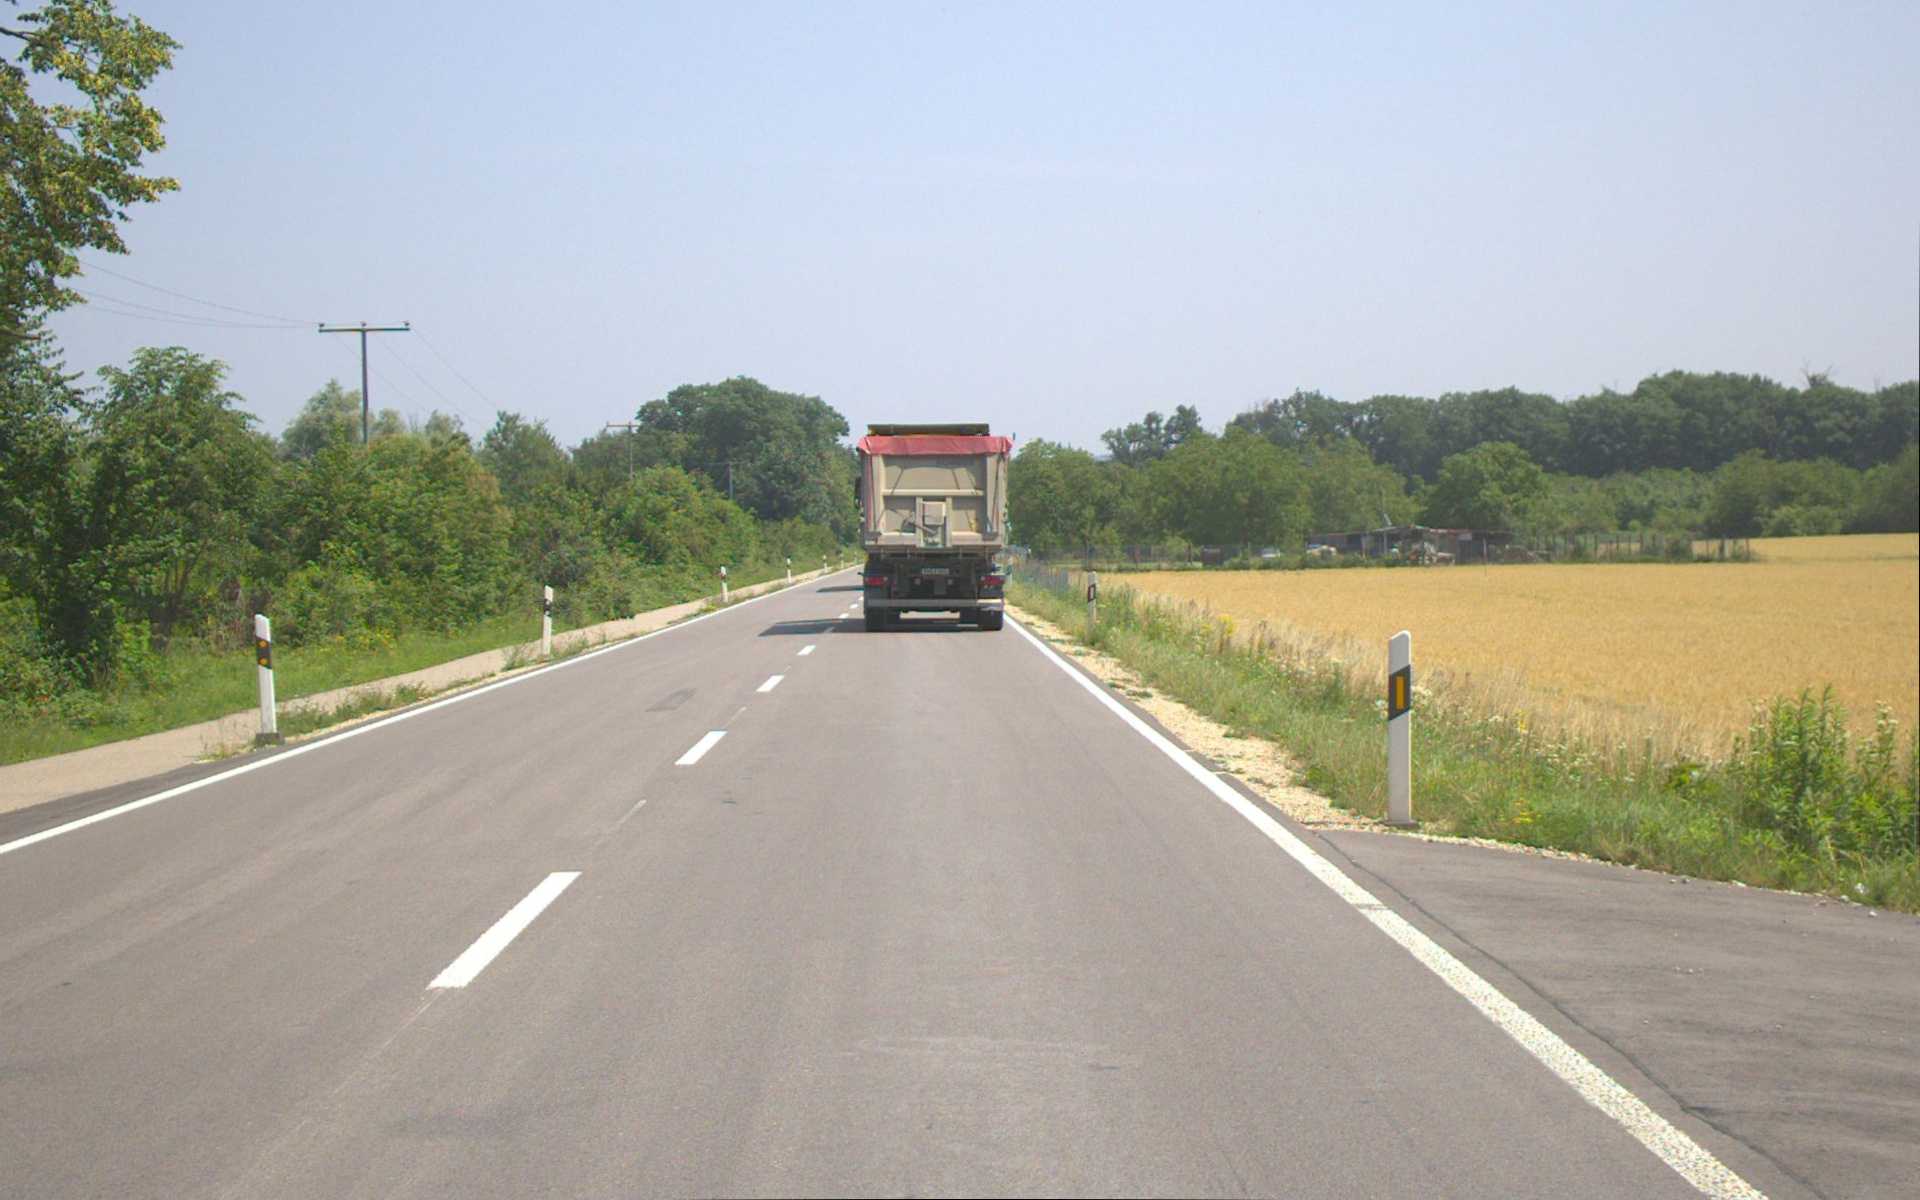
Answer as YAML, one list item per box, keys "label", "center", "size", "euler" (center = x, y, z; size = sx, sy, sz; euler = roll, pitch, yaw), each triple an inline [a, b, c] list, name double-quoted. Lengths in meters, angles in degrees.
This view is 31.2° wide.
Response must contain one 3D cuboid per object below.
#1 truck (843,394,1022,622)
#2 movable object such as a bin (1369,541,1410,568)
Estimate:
- label: "truck"
  center: [-0.545, -1.643, 65.019]
  size: [3.009, 3.861, 12.210]
  euler: [1, 1, -1]
- label: "movable object such as a bin"
  center: [24.448, -2.592, 195.924]
  size: [1.570, 1.491, 3.659]
  euler: [-1, 1, -5]
